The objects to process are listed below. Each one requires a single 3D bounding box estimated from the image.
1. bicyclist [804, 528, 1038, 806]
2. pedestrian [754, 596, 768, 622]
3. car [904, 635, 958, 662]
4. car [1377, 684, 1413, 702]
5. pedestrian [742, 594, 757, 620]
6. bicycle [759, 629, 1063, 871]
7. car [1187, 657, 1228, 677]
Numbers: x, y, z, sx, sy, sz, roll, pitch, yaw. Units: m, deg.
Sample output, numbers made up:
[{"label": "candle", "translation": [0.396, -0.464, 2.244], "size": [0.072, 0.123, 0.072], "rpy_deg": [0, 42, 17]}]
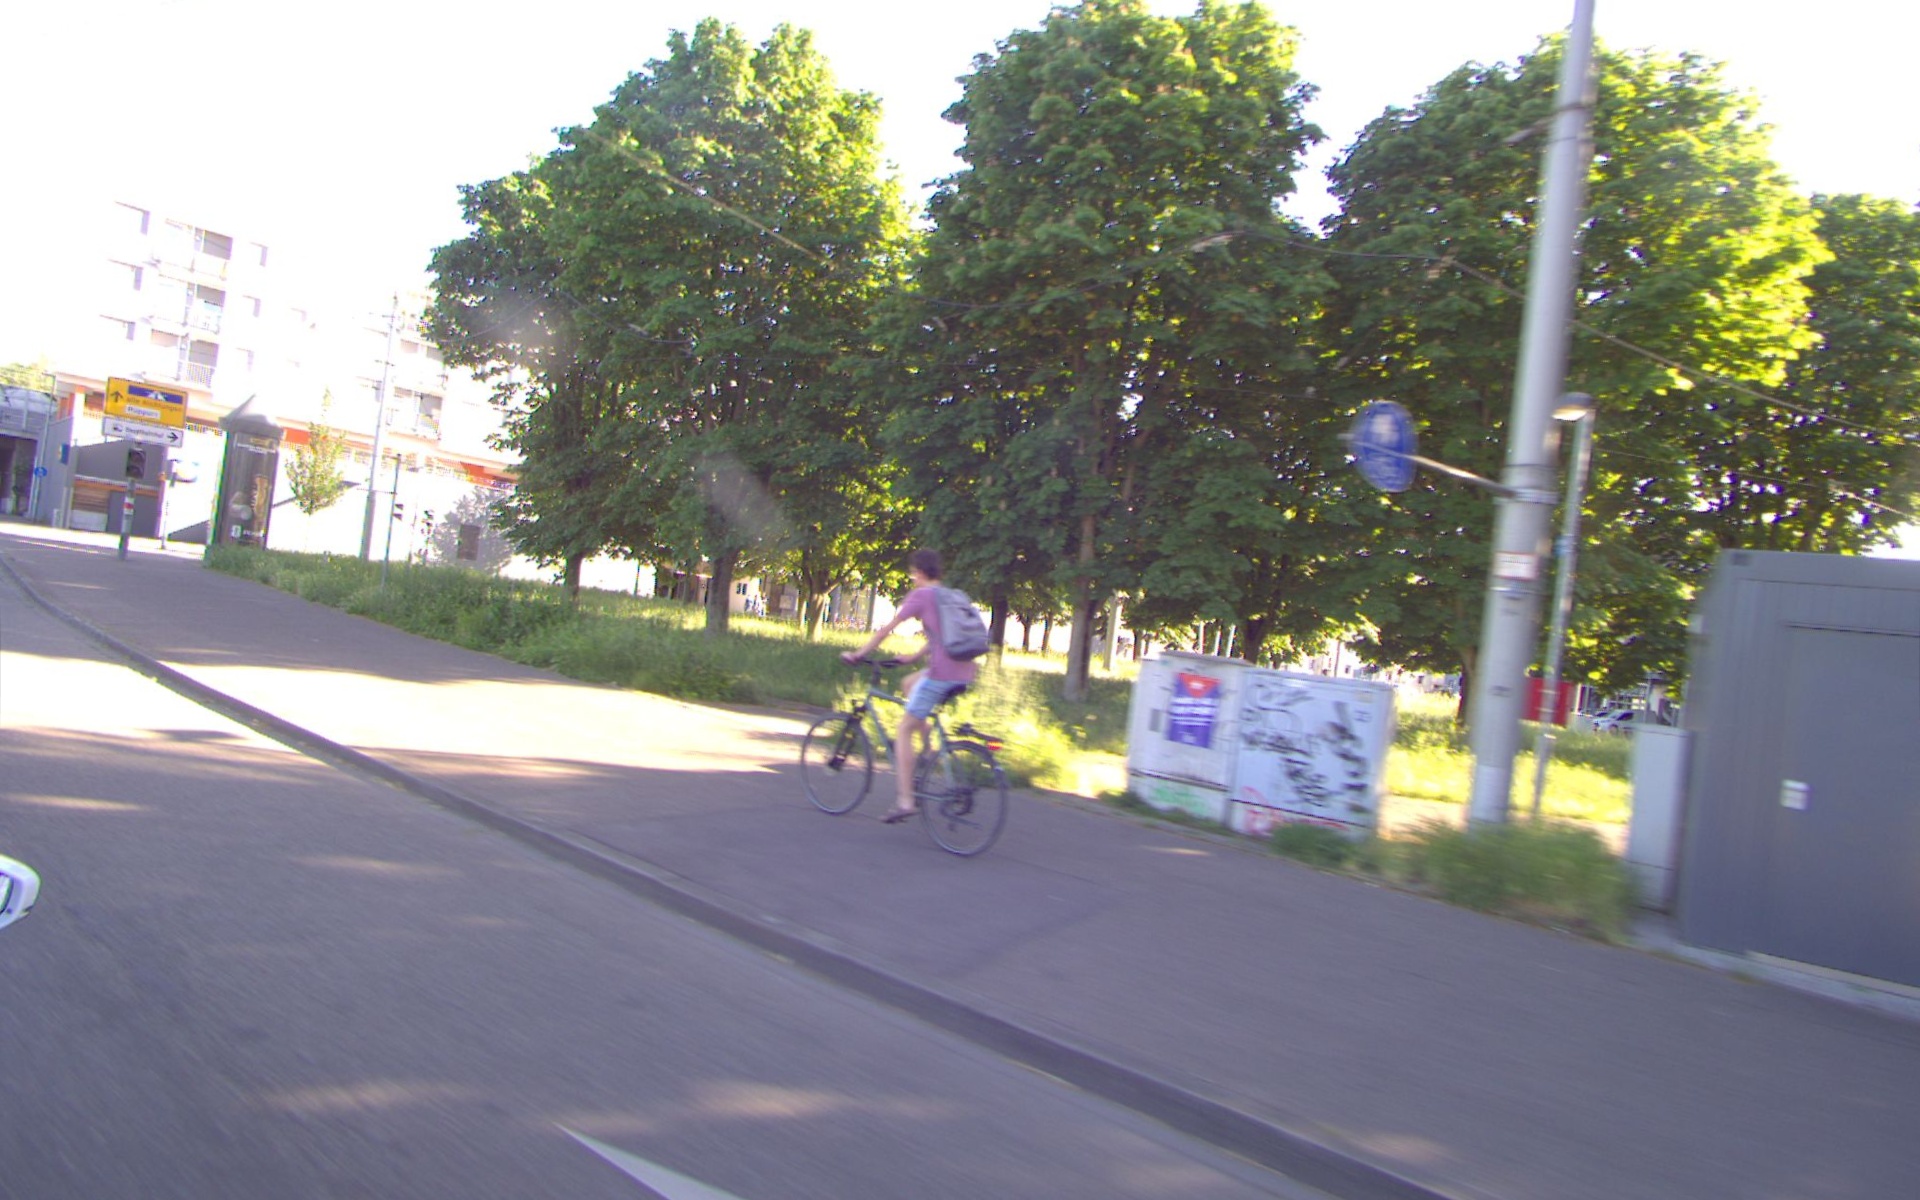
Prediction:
[{"label": "bicyclist", "translation": [-0.265, 0.407, 6.576], "size": [1.134, 1.619, 0.810], "rpy_deg": [6, -1, 43]}, {"label": "pedestrian", "translation": [-13.972, 0.622, 70.604], "size": [0.656, 1.719, 0.596], "rpy_deg": [9, -4, -30]}, {"label": "car", "translation": [-2.373, 4.022, 82.544], "size": [3.980, 1.657, 1.977], "rpy_deg": [12, -6, -43]}, {"label": "car", "translation": [54.501, 11.685, 126.084], "size": [3.956, 1.657, 1.989], "rpy_deg": [10, -5, -27]}, {"label": "pedestrian", "translation": [-14.681, 0.491, 70.130], "size": [0.656, 1.719, 0.596], "rpy_deg": [9, -4, -30]}, {"label": "bicycle", "translation": [-0.383, 0.899, 6.617], "size": [1.974, 1.206, 0.717], "rpy_deg": [5, -1, 43]}, {"label": "car", "translation": [27.528, 7.434, 111.934], "size": [3.955, 1.657, 1.989], "rpy_deg": [10, -5, -27]}]
